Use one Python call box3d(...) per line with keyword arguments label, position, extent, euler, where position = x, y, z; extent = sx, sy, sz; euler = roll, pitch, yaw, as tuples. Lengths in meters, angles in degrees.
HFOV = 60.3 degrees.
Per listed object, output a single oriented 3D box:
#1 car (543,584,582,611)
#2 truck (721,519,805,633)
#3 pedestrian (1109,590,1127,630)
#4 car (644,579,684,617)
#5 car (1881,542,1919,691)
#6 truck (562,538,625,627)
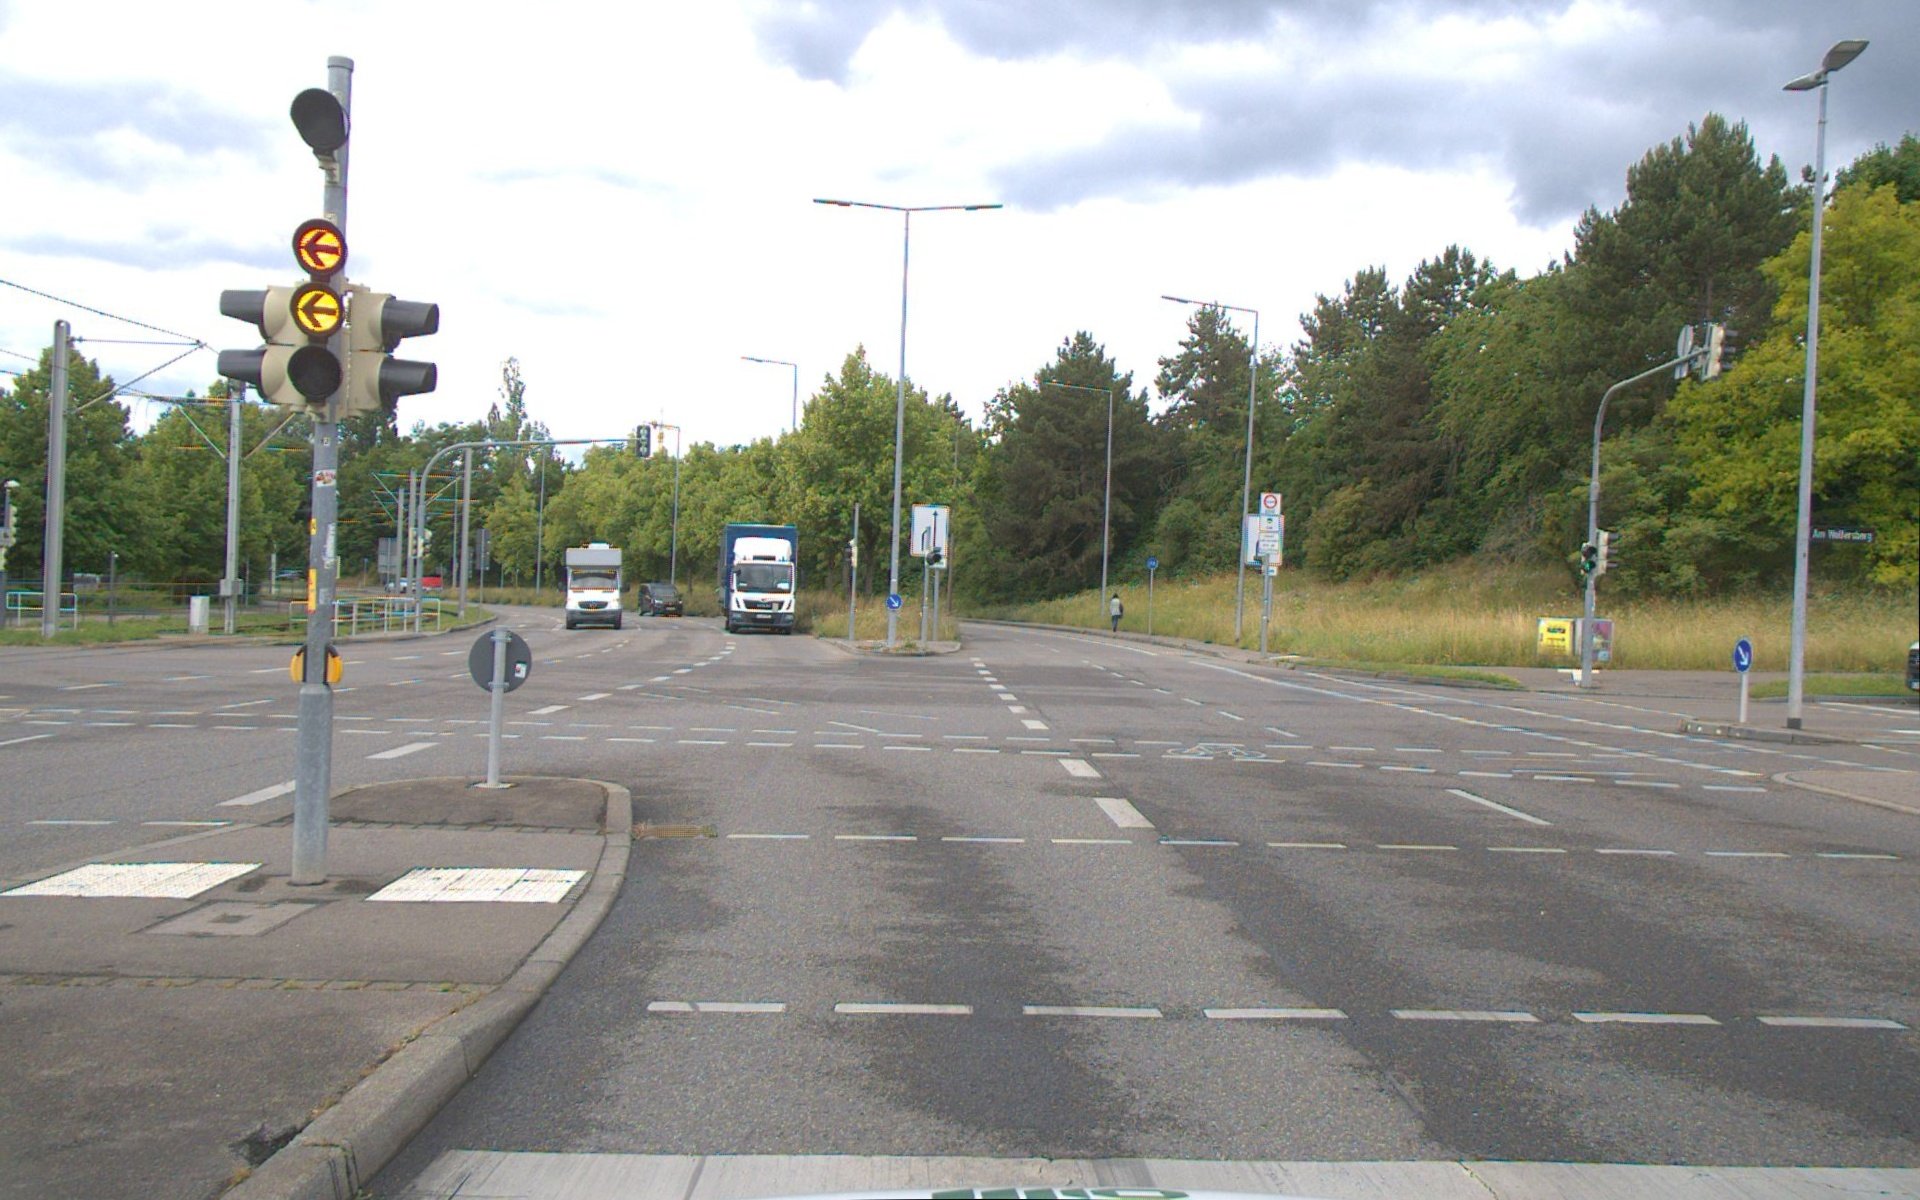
box3d(label="car", position=(-28.029, -0.210, 116.594), extent=(1.967, 1.814, 3.971), euler=(1, 0, -23))
box3d(label="truck", position=(-7.333, -0.833, 60.848), extent=(2.727, 3.871, 8.372), euler=(1, 0, -9))
box3d(label="pedestrian", position=(7.010, 0.456, 73.433), extent=(0.724, 1.747, 0.625), euler=(1, 0, -1))
box3d(label="car", position=(-16.767, -0.121, 93.601), extent=(1.960, 2.049, 4.592), euler=(1, 0, -14))
box3d(label="car", position=(20.330, 0.338, 30.181), extent=(5.818, 2.705, 2.228), euler=(1, -1, 1))
box3d(label="truck", position=(-13.657, -0.636, 61.734), extent=(2.068, 3.063, 6.254), euler=(-2, 1, -12))
